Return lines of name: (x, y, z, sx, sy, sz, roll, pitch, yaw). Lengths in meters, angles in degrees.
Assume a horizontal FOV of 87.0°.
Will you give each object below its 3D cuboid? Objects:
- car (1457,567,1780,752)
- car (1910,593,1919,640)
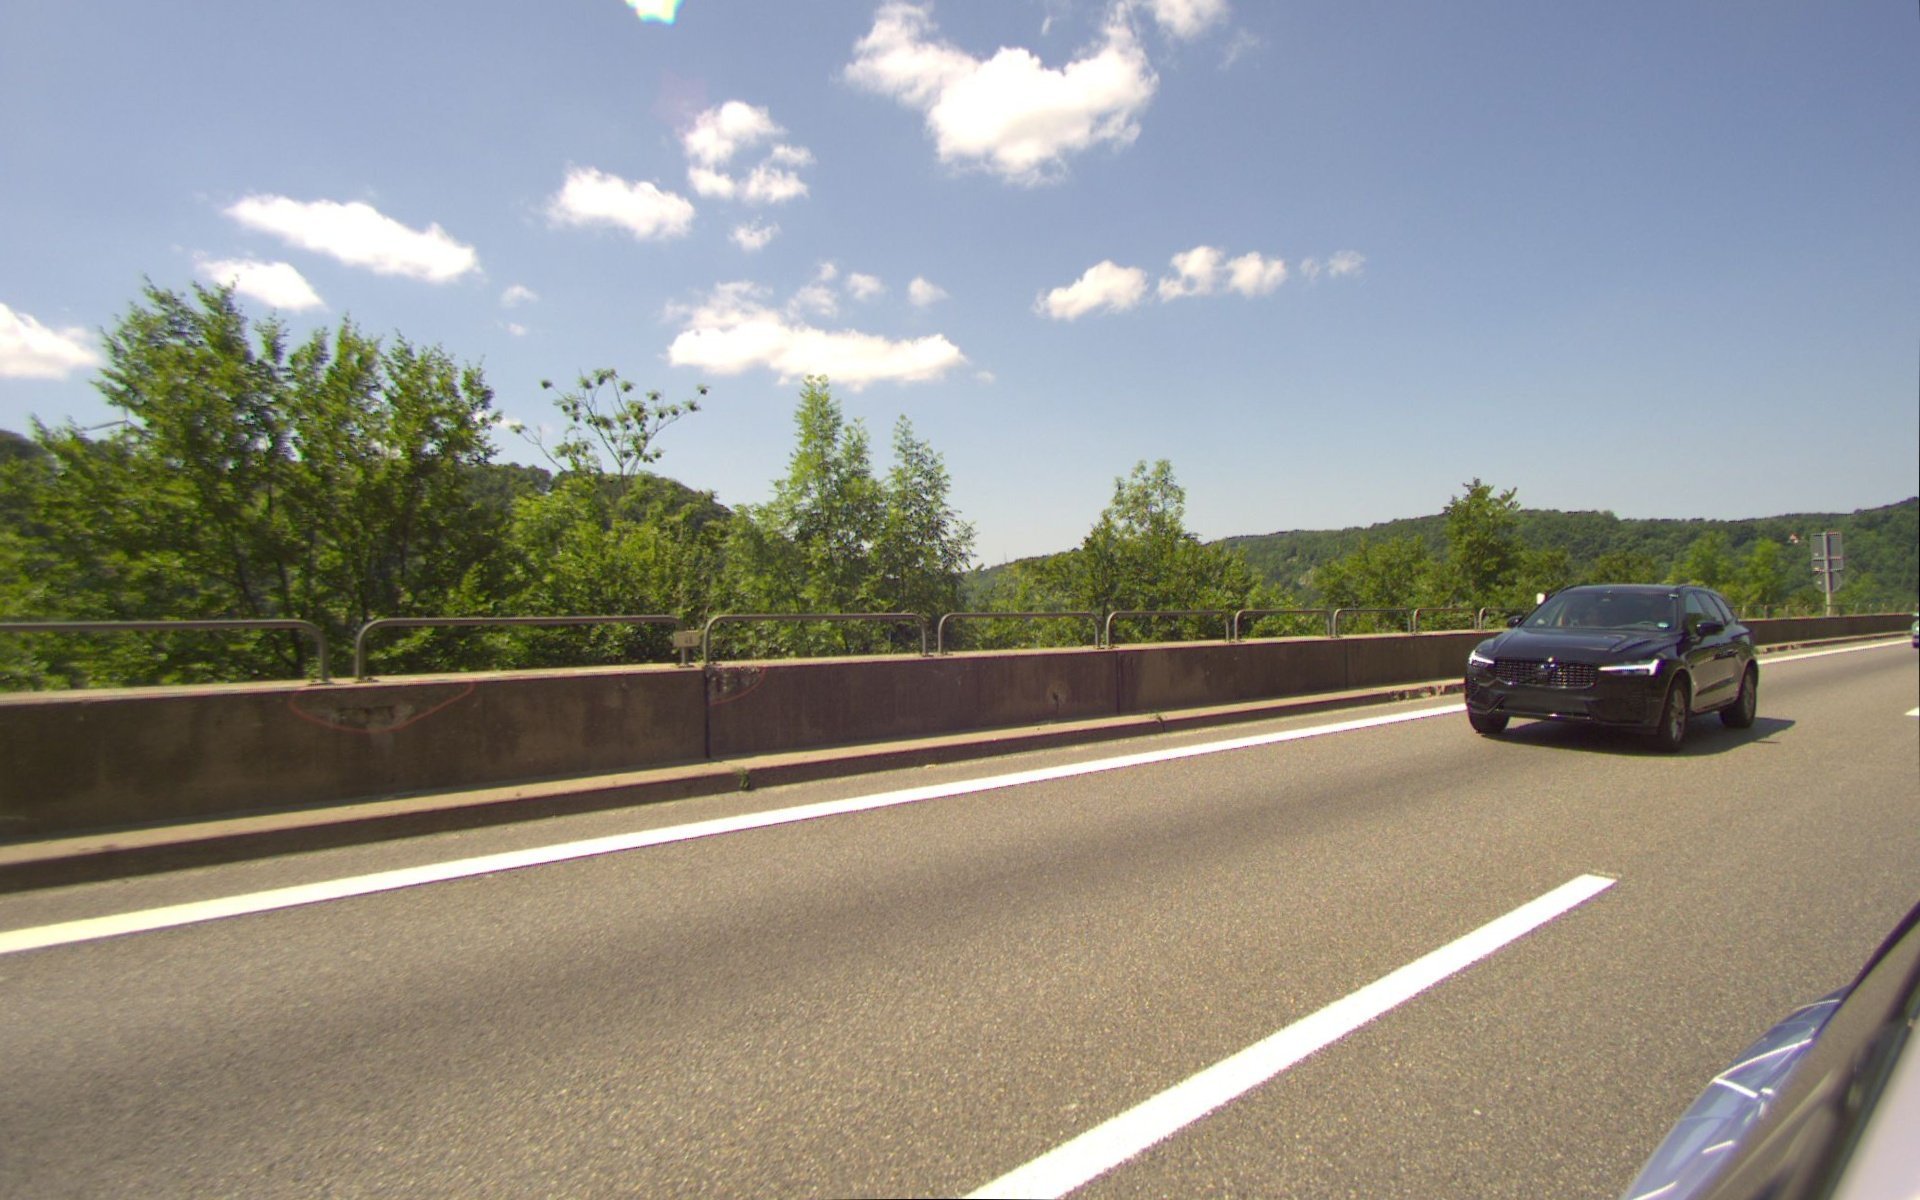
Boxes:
car: (7.480, 0.530, 11.296, 4.581, 1.654, 1.838, 1, 1, -41)
car: (30.876, 0.506, 30.848, 4.213, 1.394, 1.975, -1, 3, -36)
